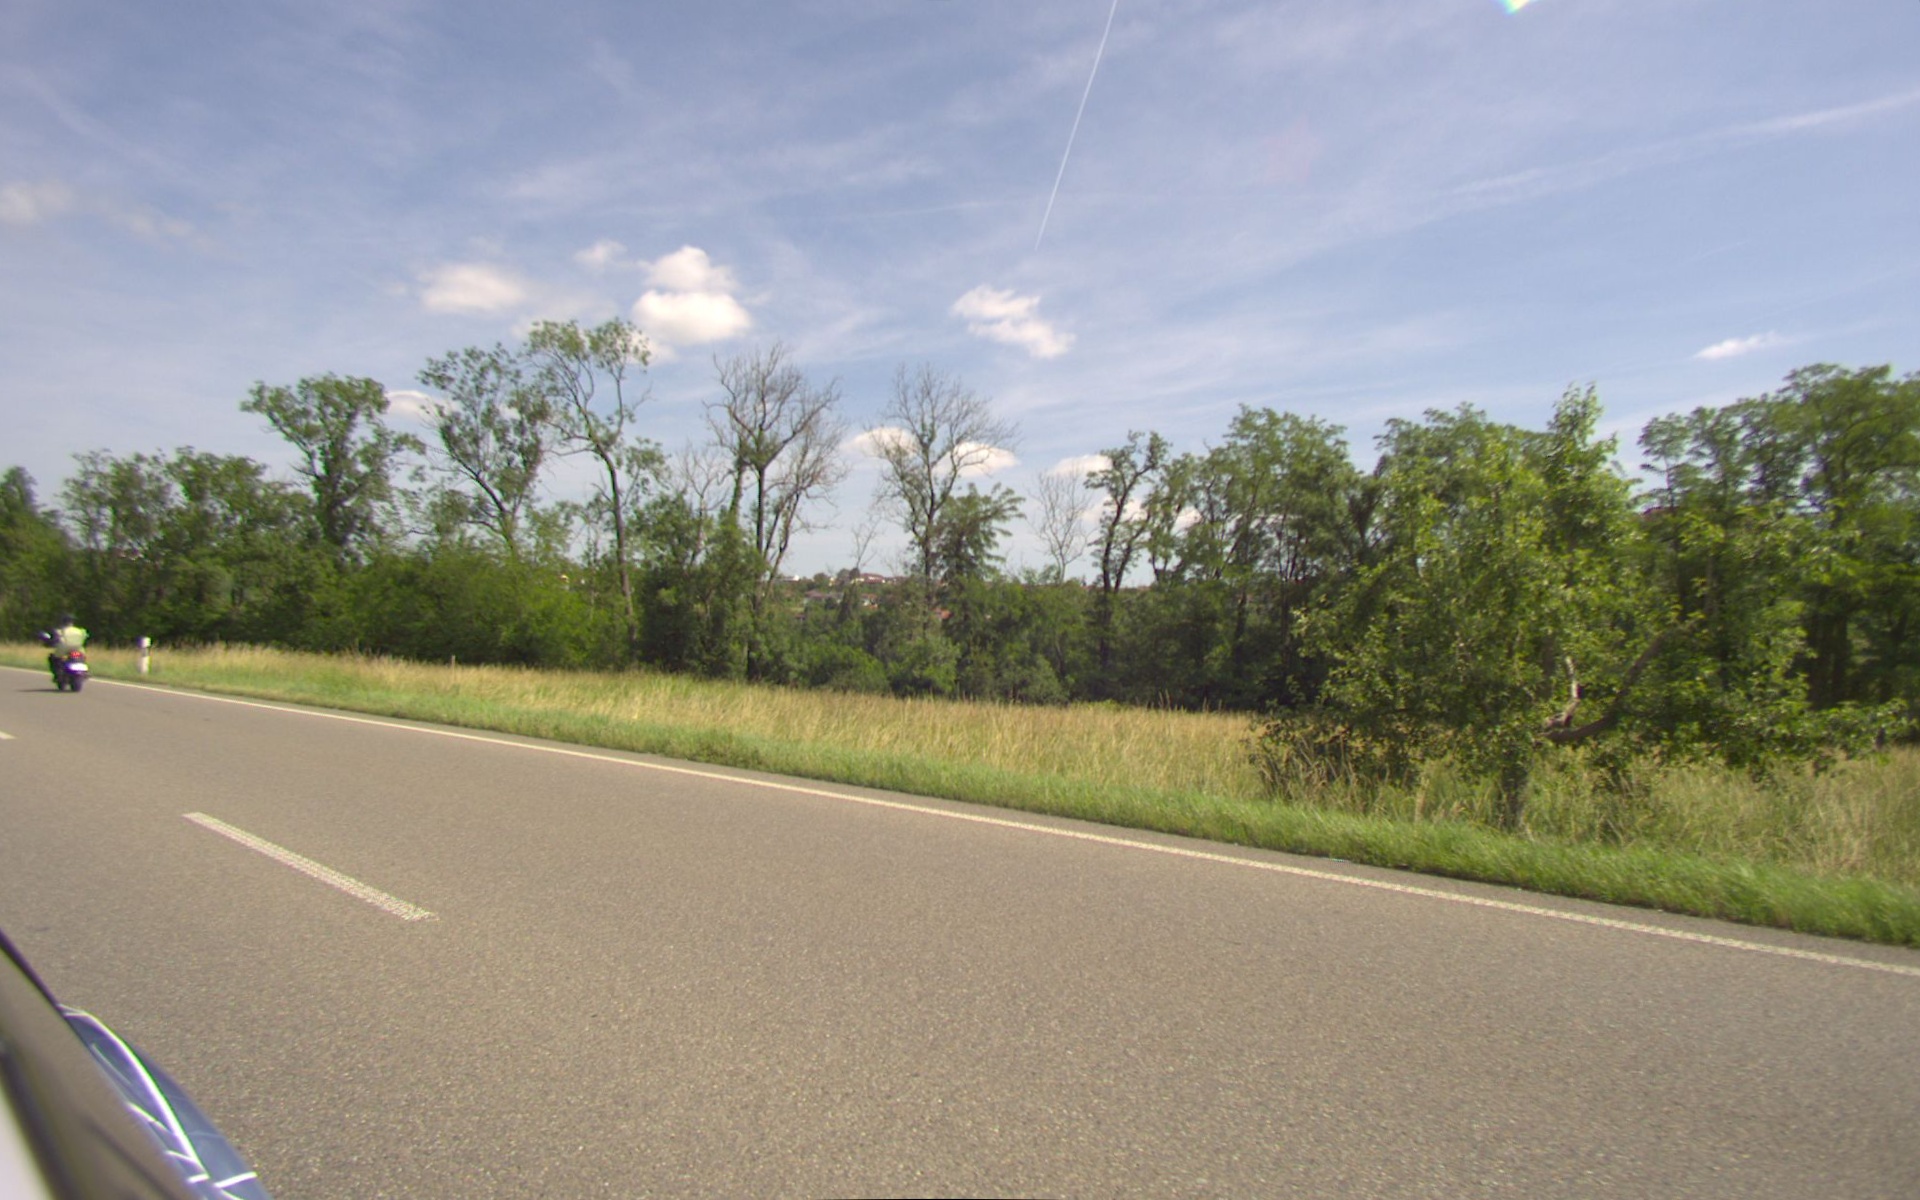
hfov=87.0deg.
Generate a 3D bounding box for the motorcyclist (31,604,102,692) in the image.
[{"bbox_3d":[-18.214,0.966,20.633,0.962,1.731,0.909,-1,-2,39],"label":"motorcyclist"}]

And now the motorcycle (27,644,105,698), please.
[{"bbox_3d":[-18.151,1.419,20.534,2.276,1.002,0.750,-1,-2,38],"label":"motorcycle"}]
